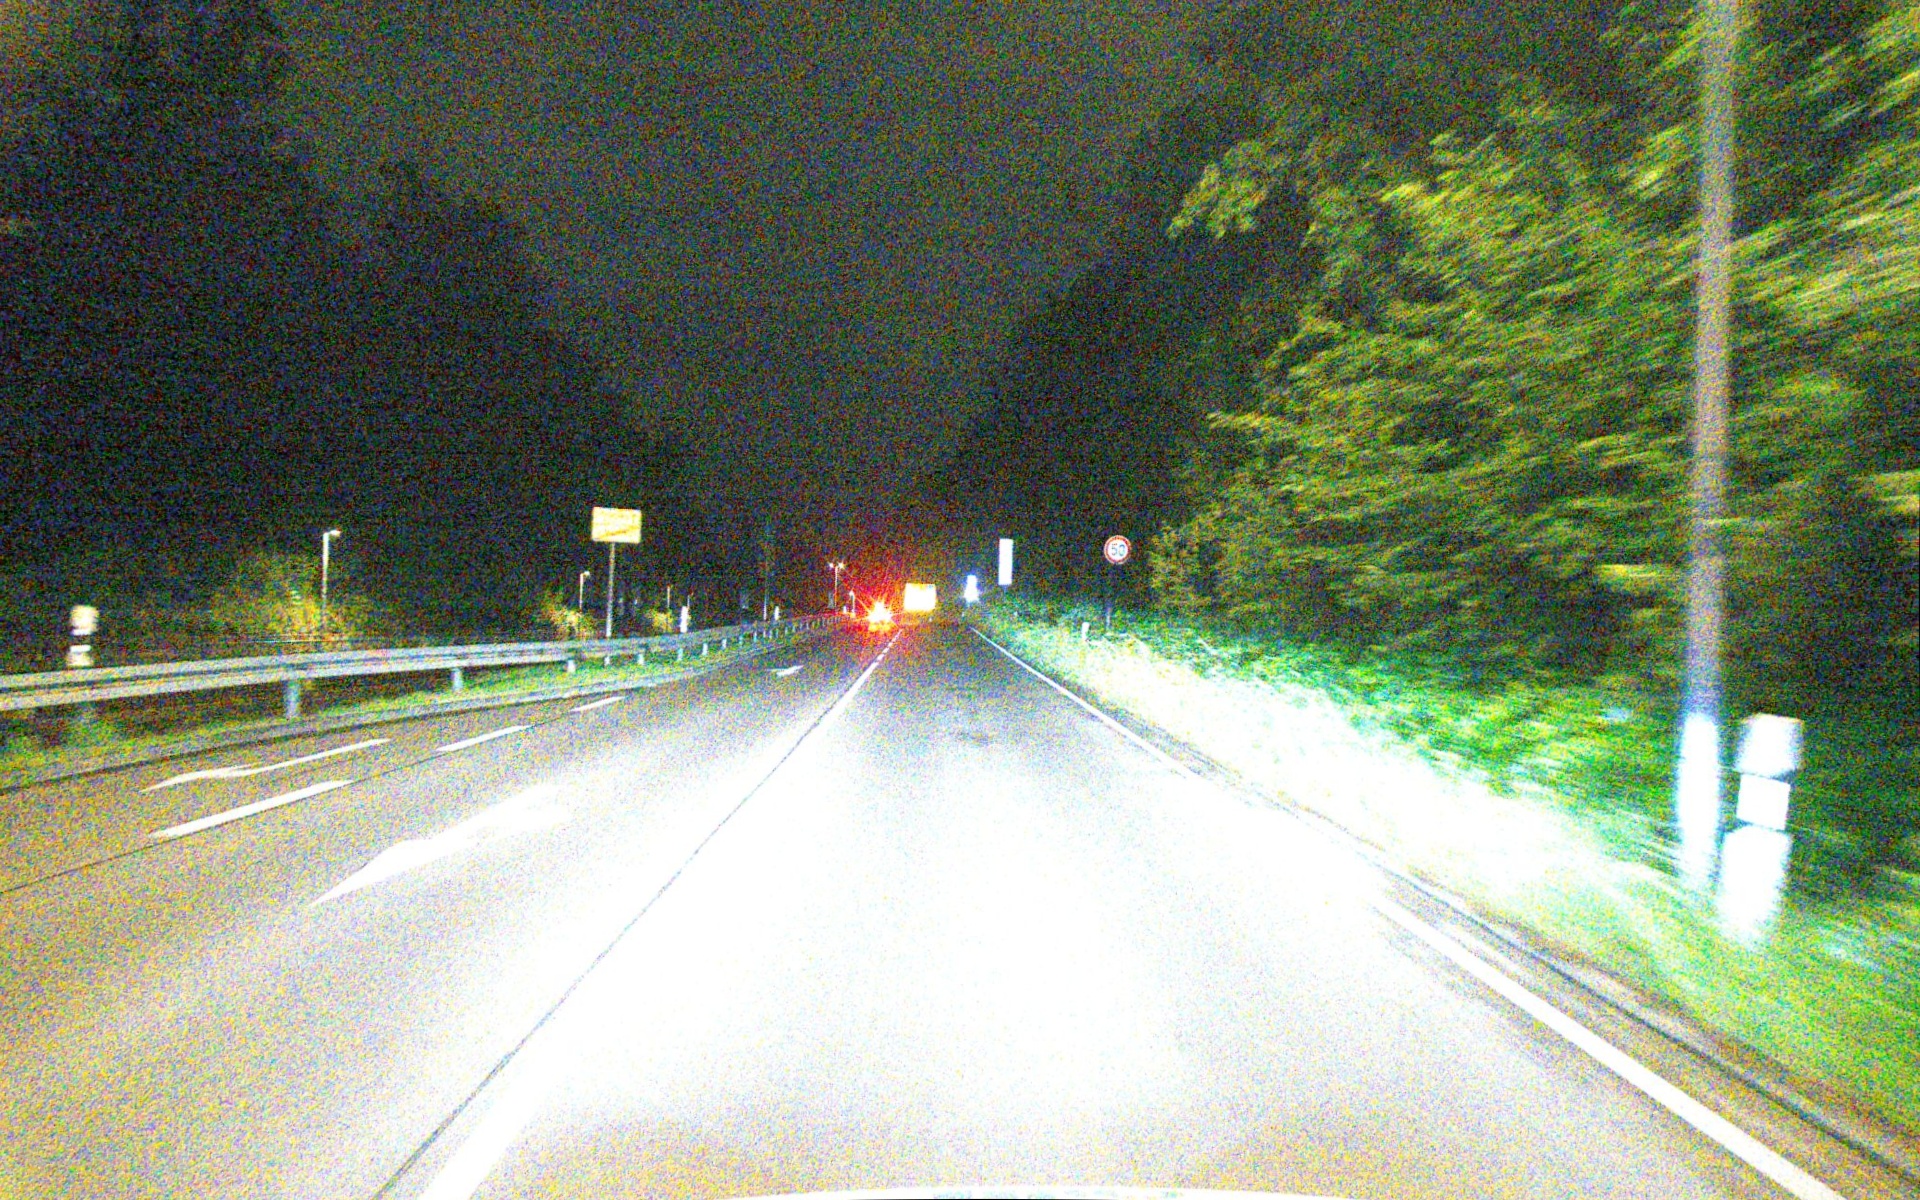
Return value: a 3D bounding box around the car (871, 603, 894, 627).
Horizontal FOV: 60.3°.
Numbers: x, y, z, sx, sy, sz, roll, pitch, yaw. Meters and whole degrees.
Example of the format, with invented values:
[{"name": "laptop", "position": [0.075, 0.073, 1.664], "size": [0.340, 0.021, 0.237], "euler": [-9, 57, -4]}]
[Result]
[{"name": "car", "position": [-7.420, 1.472, 157.588], "size": [1.955, 2.049, 3.995], "euler": [3, -3, -5]}]
